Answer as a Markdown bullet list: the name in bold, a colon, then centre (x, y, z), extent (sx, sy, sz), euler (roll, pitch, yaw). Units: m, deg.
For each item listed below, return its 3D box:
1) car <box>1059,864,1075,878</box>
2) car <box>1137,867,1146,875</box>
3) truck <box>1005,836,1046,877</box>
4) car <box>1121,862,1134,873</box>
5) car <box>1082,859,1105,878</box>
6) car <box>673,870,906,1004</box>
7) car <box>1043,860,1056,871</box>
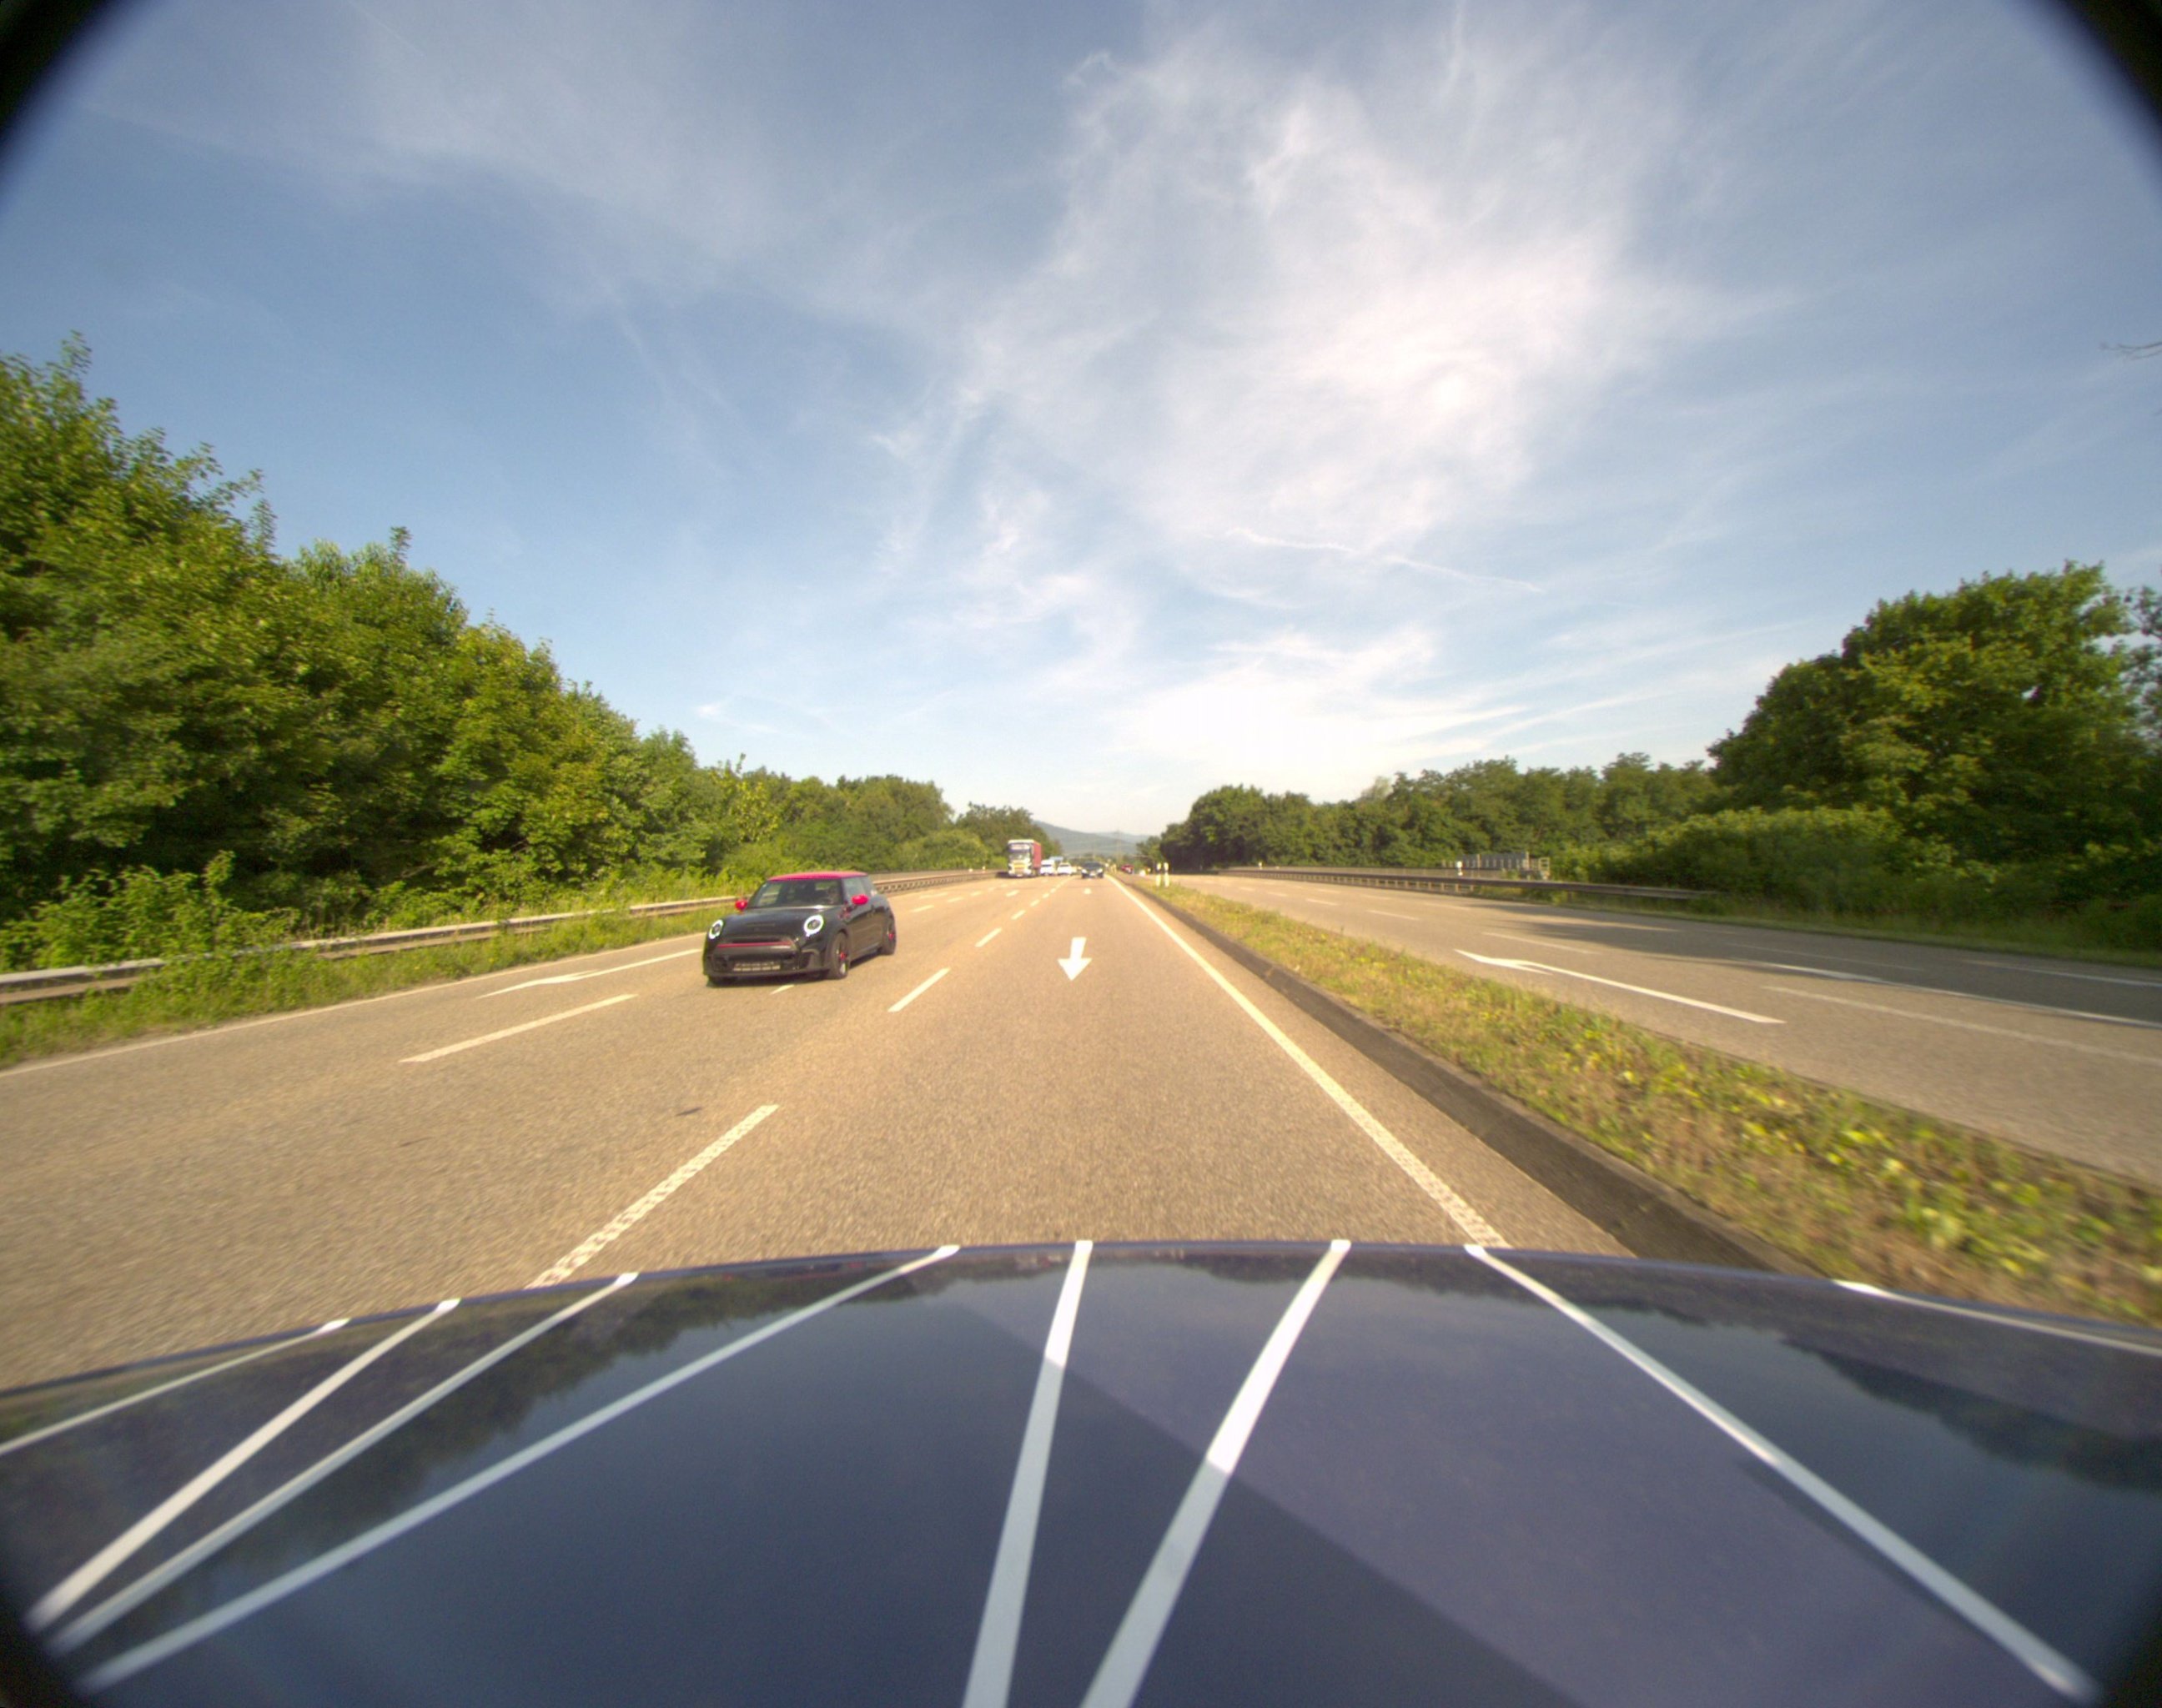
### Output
- **car**: centre (-1.684, 2.078, 94.795), extent (1.875, 1.625, 4.833), euler (0, 1, 0)
- **car**: centre (16.136, 4.578, 203.142), extent (2.121, 1.818, 4.419), euler (-2, 1, 0)
- **truck**: centre (-5.968, 0.175, 84.607), extent (3.196, 3.996, 14.563), euler (-2, 0, 1)
- **car**: centre (8.430, 2.380, 137.393), extent (1.998, 1.818, 4.618), euler (-2, 1, 0)
- **car**: centre (1.068, 1.200, 64.403), extent (1.861, 1.452, 4.569), euler (-2, 1, 1)
- **car**: centre (-4.006, 1.057, 11.212), extent (1.824, 1.459, 3.872), euler (-2, 1, 1)
- **car**: centre (-5.017, 1.798, 120.706), extent (1.875, 1.625, 4.833), euler (0, 1, 0)
